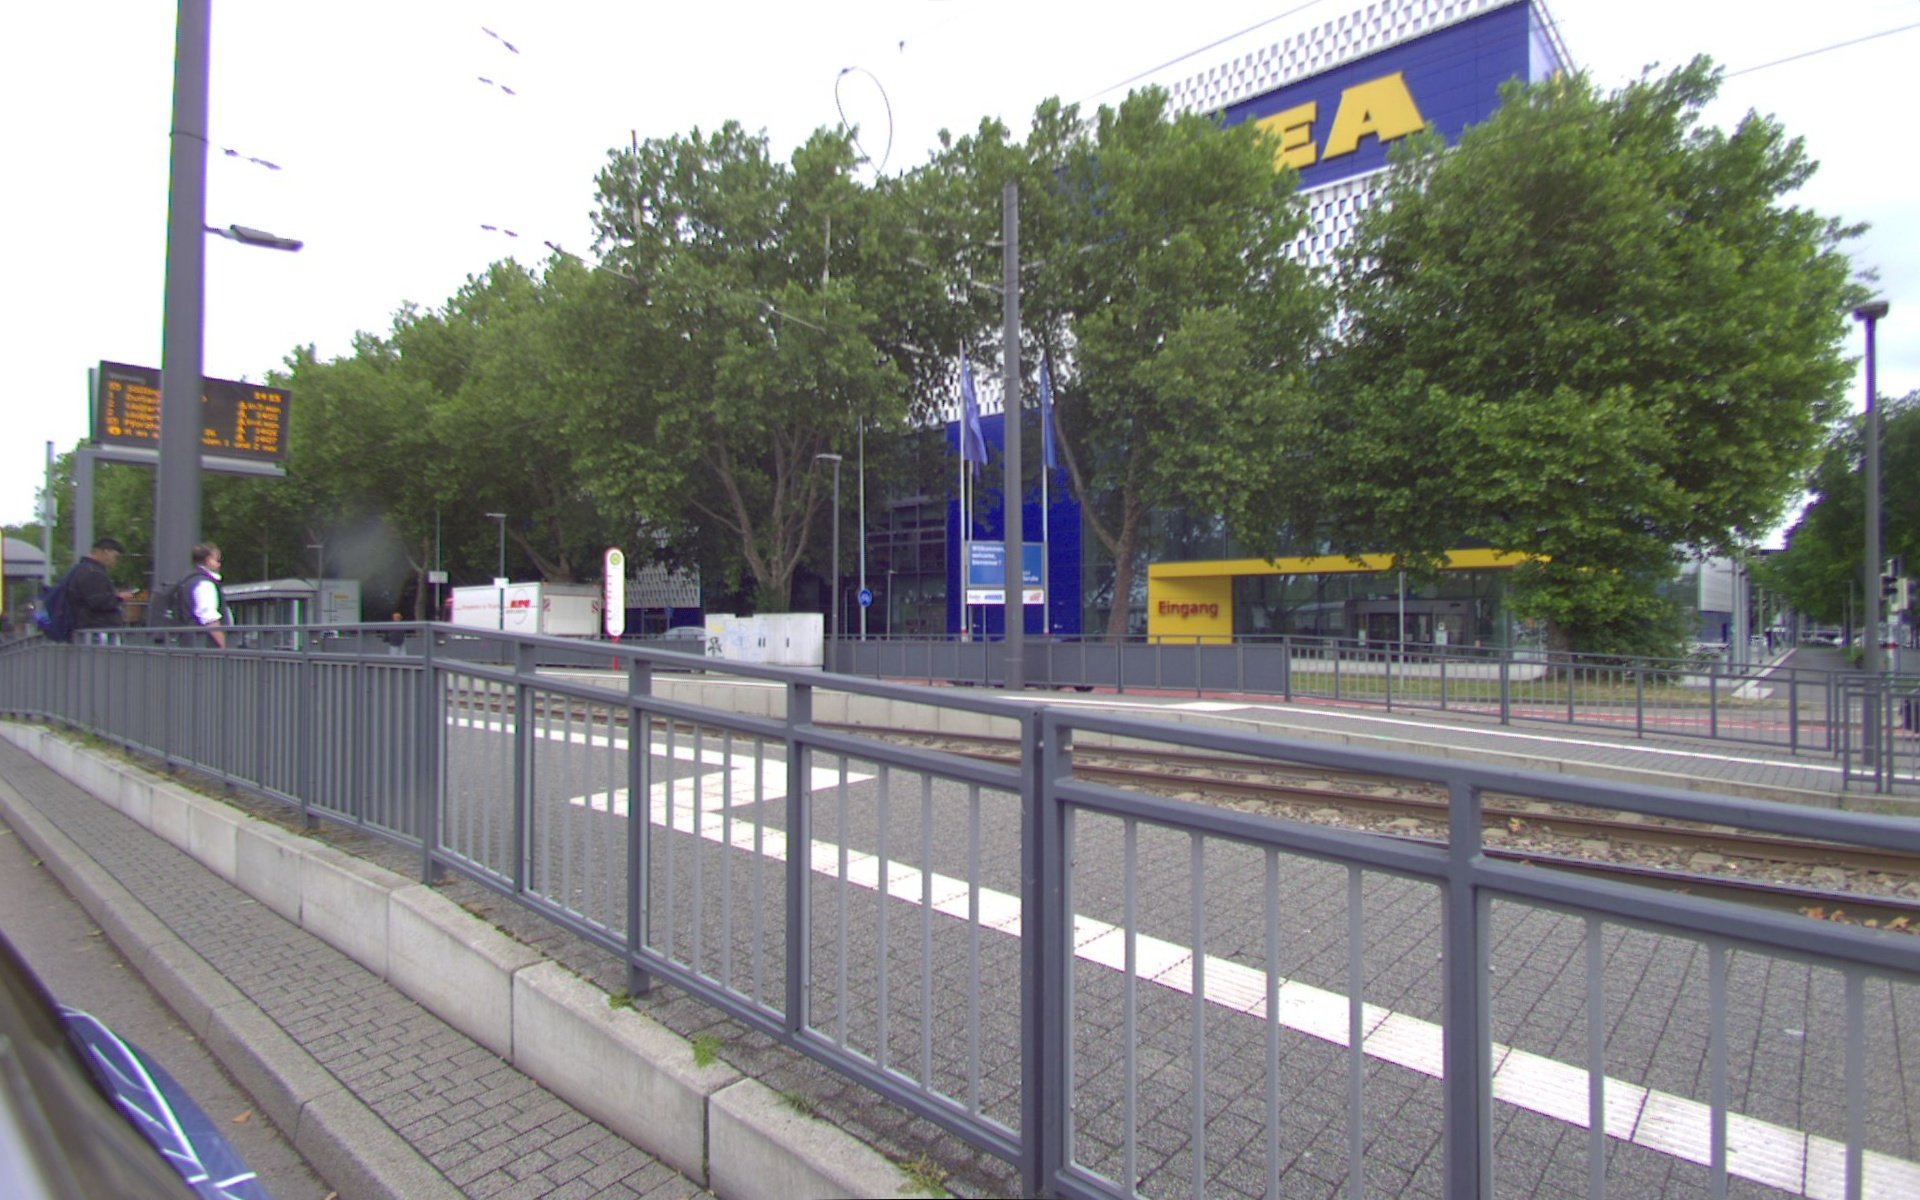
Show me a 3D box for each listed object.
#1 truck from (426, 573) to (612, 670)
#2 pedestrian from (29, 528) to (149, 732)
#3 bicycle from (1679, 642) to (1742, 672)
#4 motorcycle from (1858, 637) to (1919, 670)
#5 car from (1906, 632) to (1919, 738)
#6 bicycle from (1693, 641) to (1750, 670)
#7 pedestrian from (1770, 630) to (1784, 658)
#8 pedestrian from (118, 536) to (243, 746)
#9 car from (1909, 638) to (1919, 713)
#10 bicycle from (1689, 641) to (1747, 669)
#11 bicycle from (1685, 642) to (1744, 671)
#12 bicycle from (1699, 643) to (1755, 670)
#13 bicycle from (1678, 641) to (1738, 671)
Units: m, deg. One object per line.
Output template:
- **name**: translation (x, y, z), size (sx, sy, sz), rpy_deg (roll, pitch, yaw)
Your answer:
- **truck**: translation (-18.901, 1.026, 42.937), size (9.892, 3.691, 3.217), rpy_deg (-2, -4, 41)
- **pedestrian**: translation (-7.896, 0.258, 9.177), size (0.587, 1.755, 0.776), rpy_deg (-1, 0, 45)
- **bicycle**: translation (31.477, 2.385, 42.474), size (2.012, 1.165, 0.588), rpy_deg (1, -1, 27)
- **motorcycle**: translation (41.921, 2.405, 45.279), size (2.491, 1.365, 0.791), rpy_deg (2, 0, 31)
- **car**: translation (14.957, 1.148, 13.011), size (3.999, 1.429, 1.703), rpy_deg (-2, -4, 42)
- **bicycle**: translation (34.535, 2.511, 45.932), size (2.022, 1.165, 0.585), rpy_deg (1, -1, 42)
- **pedestrian**: translation (52.561, 2.815, 65.100), size (0.679, 1.759, 0.797), rpy_deg (0, -1, 43)
- **pedestrian**: translation (-6.195, 0.308, 8.047), size (0.633, 1.571, 0.701), rpy_deg (-1, 0, 45)
- **car**: translation (22.935, 1.657, 21.393), size (4.339, 1.598, 1.897), rpy_deg (1, -2, -9)
- **bicycle**: translation (33.853, 2.441, 45.213), size (2.022, 1.165, 0.585), rpy_deg (1, -1, 42)
- **bicycle**: translation (33.074, 2.450, 44.378), size (2.022, 1.165, 0.585), rpy_deg (1, -1, 42)
- **bicycle**: translation (35.716, 2.628, 47.146), size (2.015, 1.165, 0.587), rpy_deg (1, -1, 31)
- **bicycle**: translation (32.269, 2.418, 43.653), size (2.022, 1.165, 0.585), rpy_deg (1, -1, 42)
